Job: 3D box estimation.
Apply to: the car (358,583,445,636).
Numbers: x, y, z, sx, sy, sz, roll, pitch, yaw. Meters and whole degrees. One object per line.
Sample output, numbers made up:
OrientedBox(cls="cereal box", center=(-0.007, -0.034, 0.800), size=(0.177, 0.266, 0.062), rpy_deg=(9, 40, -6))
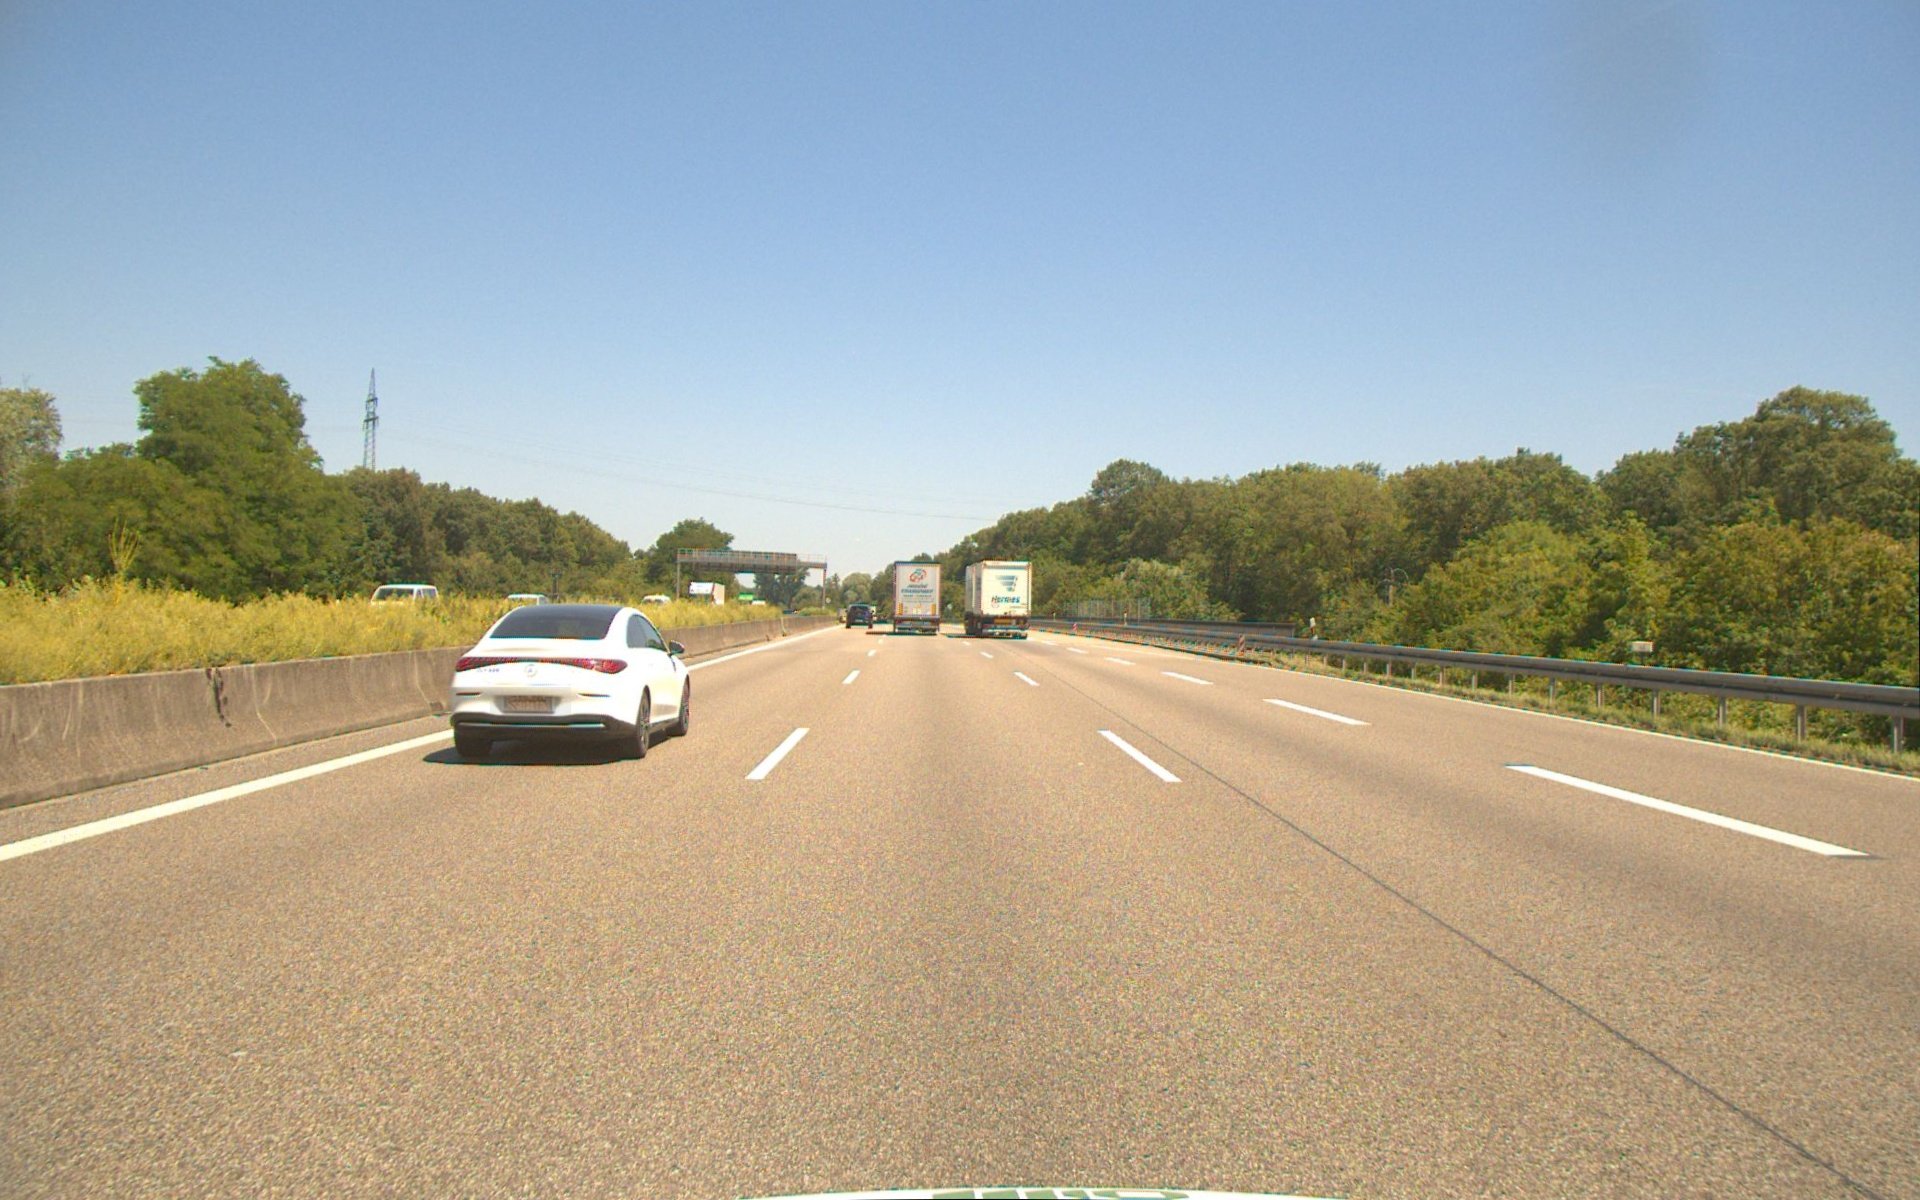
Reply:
OrientedBox(cls="car", center=(-22.303, 0.368, 66.206), size=(1.953, 2.049, 4.617), rpy_deg=(1, 0, -1))

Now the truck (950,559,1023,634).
OrientedBox(cls="truck", center=(1.408, -0.268, 96.746), size=(3.260, 4.123, 10.945), rpy_deg=(1, 1, -4))

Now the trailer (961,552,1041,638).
OrientedBox(cls="trailer", center=(2.046, -0.308, 87.165), size=(3.301, 4.215, 9.085), rpy_deg=(1, 1, -4))

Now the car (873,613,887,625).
OrientedBox(cls="car", center=(-12.532, 2.971, 259.314), size=(1.954, 1.623, 3.997), rpy_deg=(1, 1, -5))

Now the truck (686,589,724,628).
OrientedBox(cls="truck", center=(-27.317, 0.887, 177.583), size=(2.987, 4.046, 8.283), rpy_deg=(1, 0, -2))

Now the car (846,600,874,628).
OrientedBox(cls="car", center=(-7.401, 1.009, 122.171), size=(1.955, 1.907, 3.996), rpy_deg=(1, 1, -5))

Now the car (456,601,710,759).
OrientedBox(cls="car", center=(-3.937, 0.757, 18.156), size=(1.731, 1.474, 5.107), rpy_deg=(0, 0, -1))

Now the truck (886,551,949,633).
OrientedBox(cls="truck", center=(-2.463, -0.476, 92.774), size=(3.165, 4.275, 8.461), rpy_deg=(1, 1, -3))

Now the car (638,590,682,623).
OrientedBox(cls="car", center=(-19.801, 0.448, 109.417), size=(2.082, 2.119, 4.968), rpy_deg=(1, 0, -2))

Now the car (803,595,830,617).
OrientedBox(cls="car", center=(-13.883, 0.609, 160.450), size=(2.246, 2.049, 4.709), rpy_deg=(1, 0, -1))
